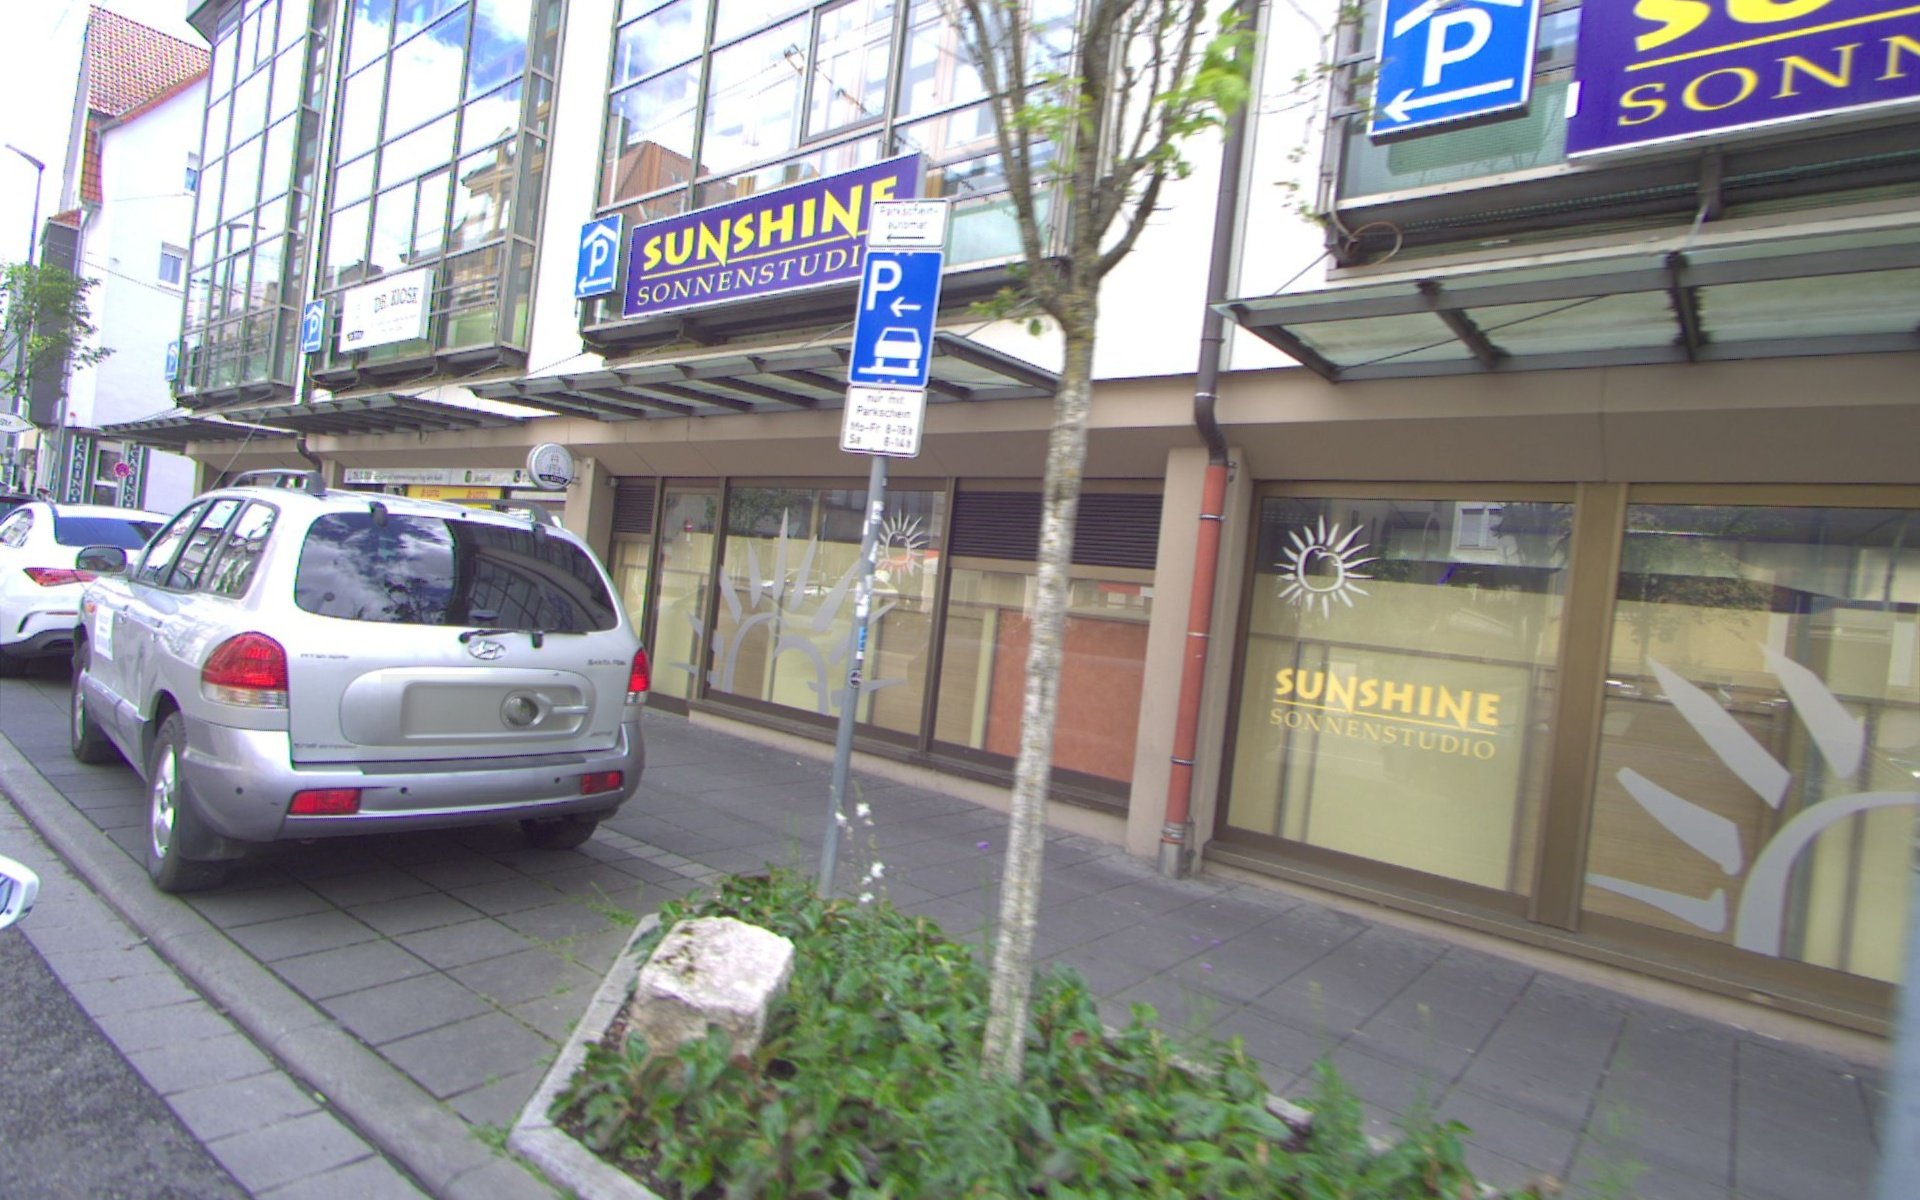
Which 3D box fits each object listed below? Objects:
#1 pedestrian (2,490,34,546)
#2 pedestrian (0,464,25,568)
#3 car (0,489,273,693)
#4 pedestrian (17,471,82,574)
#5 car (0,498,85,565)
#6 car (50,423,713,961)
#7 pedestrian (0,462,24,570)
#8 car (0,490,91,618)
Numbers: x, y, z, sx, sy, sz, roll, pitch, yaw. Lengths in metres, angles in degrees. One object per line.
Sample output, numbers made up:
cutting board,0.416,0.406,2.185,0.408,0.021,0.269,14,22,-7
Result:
pedestrian,-33.877,-2.935,36.168,0.565,1.911,0.593,6,-2,42
pedestrian,-19.530,-1.728,20.279,0.712,2.038,0.689,7,0,35
car,-7.995,-0.180,9.263,4.178,1.452,1.619,7,1,40
pedestrian,-19.096,-1.619,21.100,0.712,2.038,0.689,7,0,35
car,-24.579,-1.906,25.244,1.566,1.429,3.622,6,-3,39
car,-3.338,0.217,5.363,4.176,1.752,1.820,6,0,43
pedestrian,-18.746,-1.652,19.412,0.712,2.038,0.689,7,0,35
car,-13.057,-0.766,13.166,4.110,1.451,1.606,7,0,36
